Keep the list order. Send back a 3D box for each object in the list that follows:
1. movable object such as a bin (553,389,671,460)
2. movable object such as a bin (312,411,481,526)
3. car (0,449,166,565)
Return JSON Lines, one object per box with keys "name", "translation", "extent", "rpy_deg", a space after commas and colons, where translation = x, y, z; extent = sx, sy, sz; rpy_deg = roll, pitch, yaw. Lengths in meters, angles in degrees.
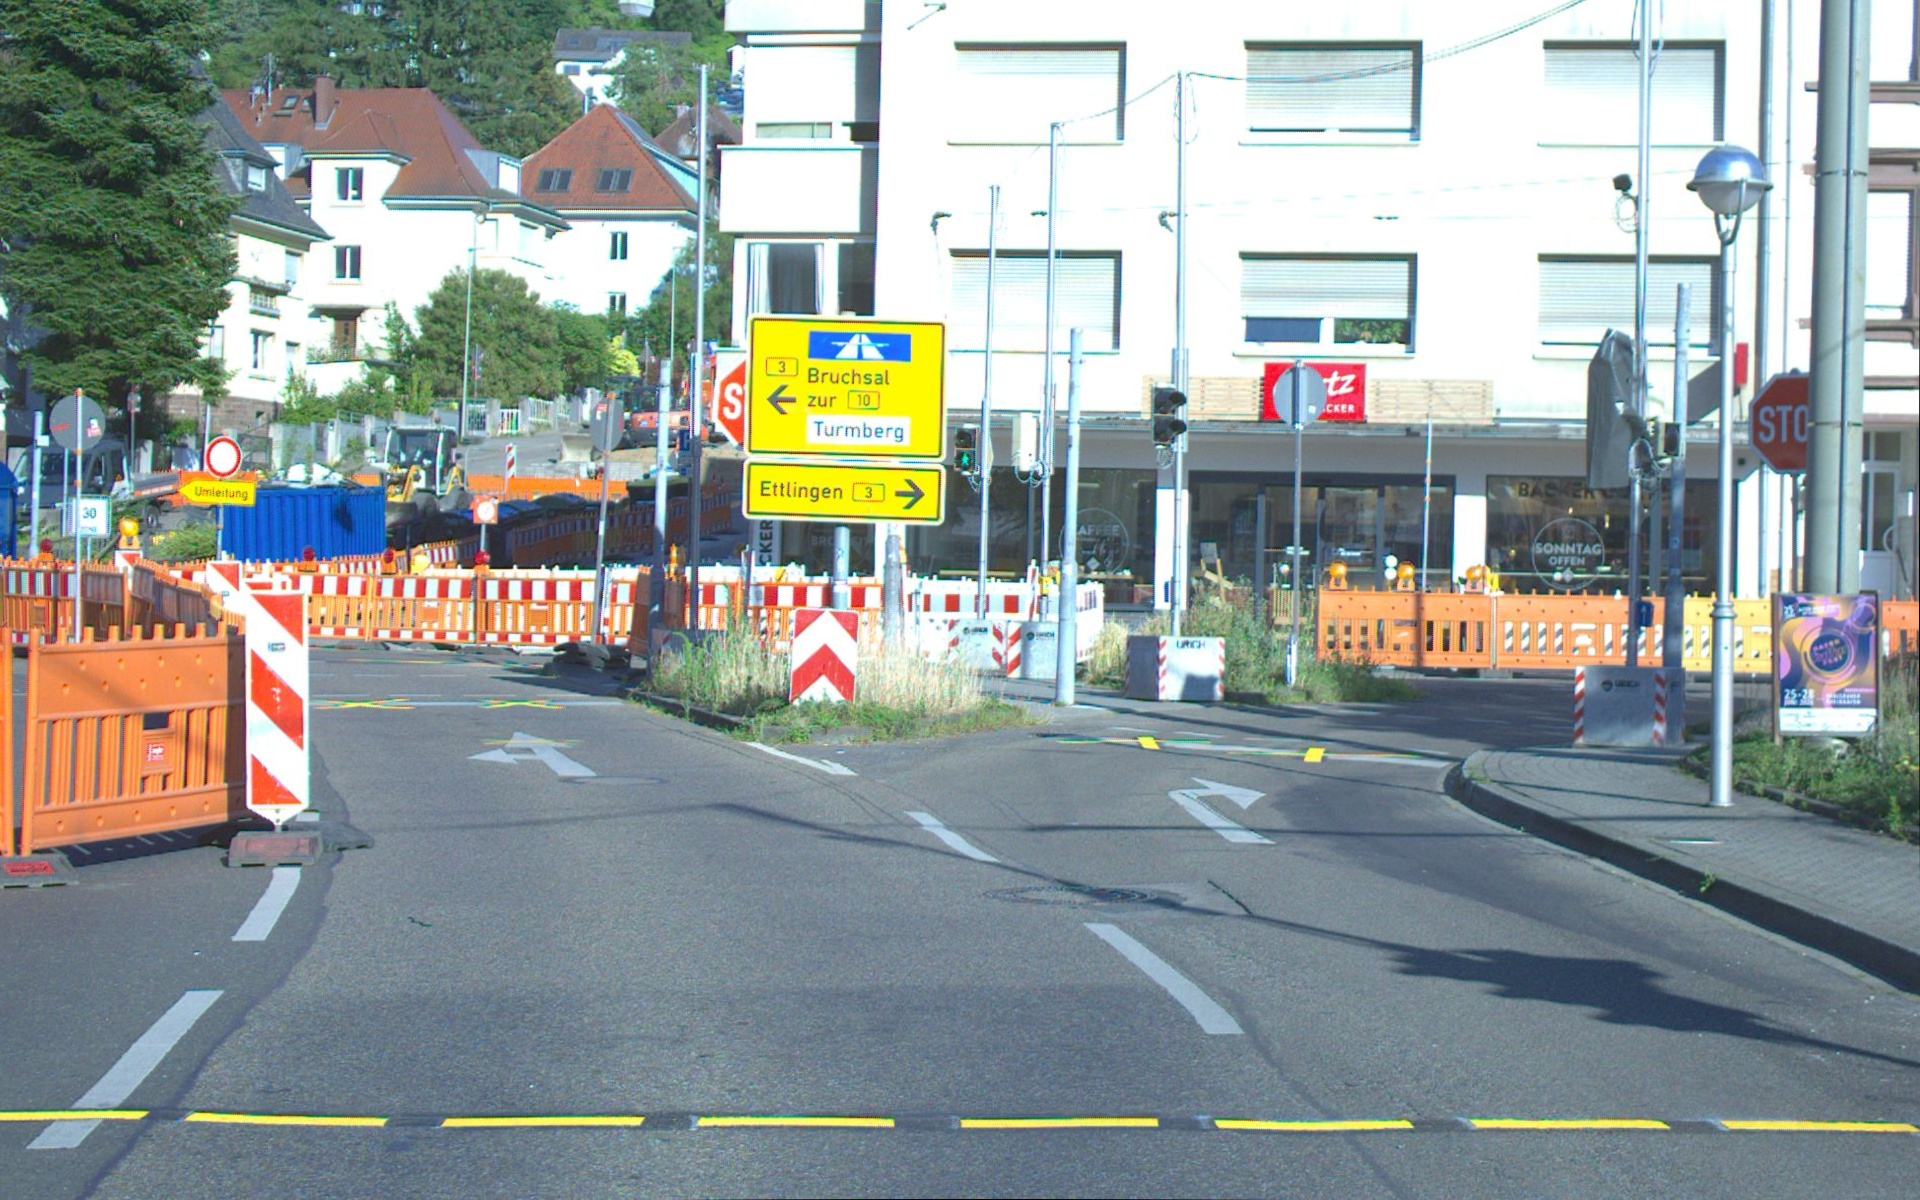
{"name": "movable object such as a bin", "translation": [-11.591, -5.830, 114.844], "extent": [2.566, 2.114, 5.782], "rpy_deg": [1, 1, 8]}
{"name": "movable object such as a bin", "translation": [-12.891, -2.985, 78.949], "extent": [1.950, 2.486, 4.547], "rpy_deg": [1, 1, 18]}
{"name": "car", "translation": [-18.043, -1.753, 66.147], "extent": [2.585, 2.113, 6.145], "rpy_deg": [1, 1, 18]}
